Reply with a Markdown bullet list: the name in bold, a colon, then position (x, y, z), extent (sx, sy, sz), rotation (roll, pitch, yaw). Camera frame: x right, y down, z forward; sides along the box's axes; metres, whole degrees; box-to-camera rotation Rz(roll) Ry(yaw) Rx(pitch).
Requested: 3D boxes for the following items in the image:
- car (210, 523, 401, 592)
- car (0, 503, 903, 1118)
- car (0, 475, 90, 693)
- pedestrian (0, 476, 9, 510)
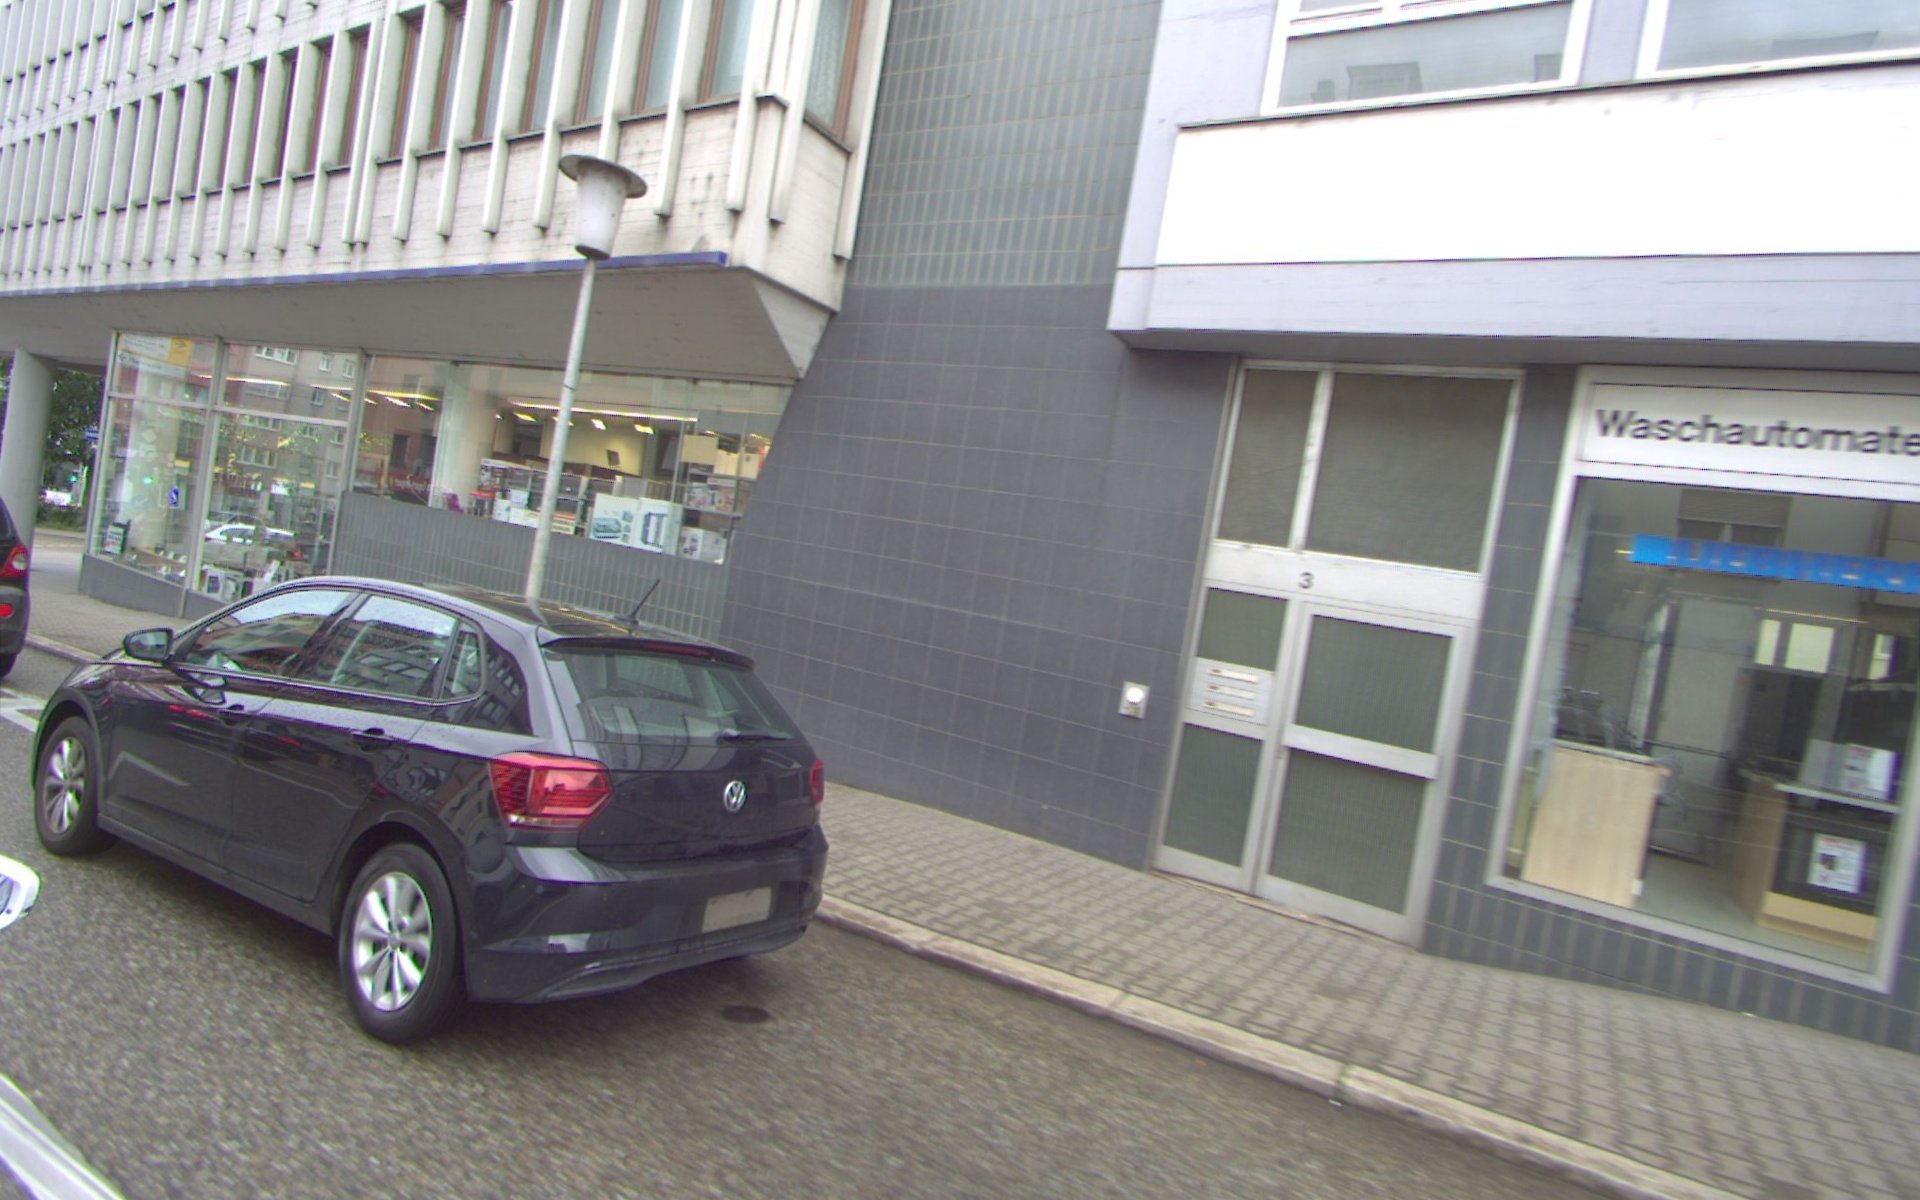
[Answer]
- **car**: position (-21.251, -1.348, 32.910), extent (4.780, 1.512, 1.850), rotation (8, -1, -17)
- **car**: position (-2.442, 0.590, 4.514), extent (3.932, 1.493, 1.694), rotation (7, -4, 30)
- **car**: position (-9.831, -0.423, 8.801), extent (4.430, 1.713, 1.903), rotation (7, -4, 31)
- **pedestrian**: position (-51.433, -5.760, 53.498), extent (0.818, 1.711, 1.029), rotation (15, 5, 40)
